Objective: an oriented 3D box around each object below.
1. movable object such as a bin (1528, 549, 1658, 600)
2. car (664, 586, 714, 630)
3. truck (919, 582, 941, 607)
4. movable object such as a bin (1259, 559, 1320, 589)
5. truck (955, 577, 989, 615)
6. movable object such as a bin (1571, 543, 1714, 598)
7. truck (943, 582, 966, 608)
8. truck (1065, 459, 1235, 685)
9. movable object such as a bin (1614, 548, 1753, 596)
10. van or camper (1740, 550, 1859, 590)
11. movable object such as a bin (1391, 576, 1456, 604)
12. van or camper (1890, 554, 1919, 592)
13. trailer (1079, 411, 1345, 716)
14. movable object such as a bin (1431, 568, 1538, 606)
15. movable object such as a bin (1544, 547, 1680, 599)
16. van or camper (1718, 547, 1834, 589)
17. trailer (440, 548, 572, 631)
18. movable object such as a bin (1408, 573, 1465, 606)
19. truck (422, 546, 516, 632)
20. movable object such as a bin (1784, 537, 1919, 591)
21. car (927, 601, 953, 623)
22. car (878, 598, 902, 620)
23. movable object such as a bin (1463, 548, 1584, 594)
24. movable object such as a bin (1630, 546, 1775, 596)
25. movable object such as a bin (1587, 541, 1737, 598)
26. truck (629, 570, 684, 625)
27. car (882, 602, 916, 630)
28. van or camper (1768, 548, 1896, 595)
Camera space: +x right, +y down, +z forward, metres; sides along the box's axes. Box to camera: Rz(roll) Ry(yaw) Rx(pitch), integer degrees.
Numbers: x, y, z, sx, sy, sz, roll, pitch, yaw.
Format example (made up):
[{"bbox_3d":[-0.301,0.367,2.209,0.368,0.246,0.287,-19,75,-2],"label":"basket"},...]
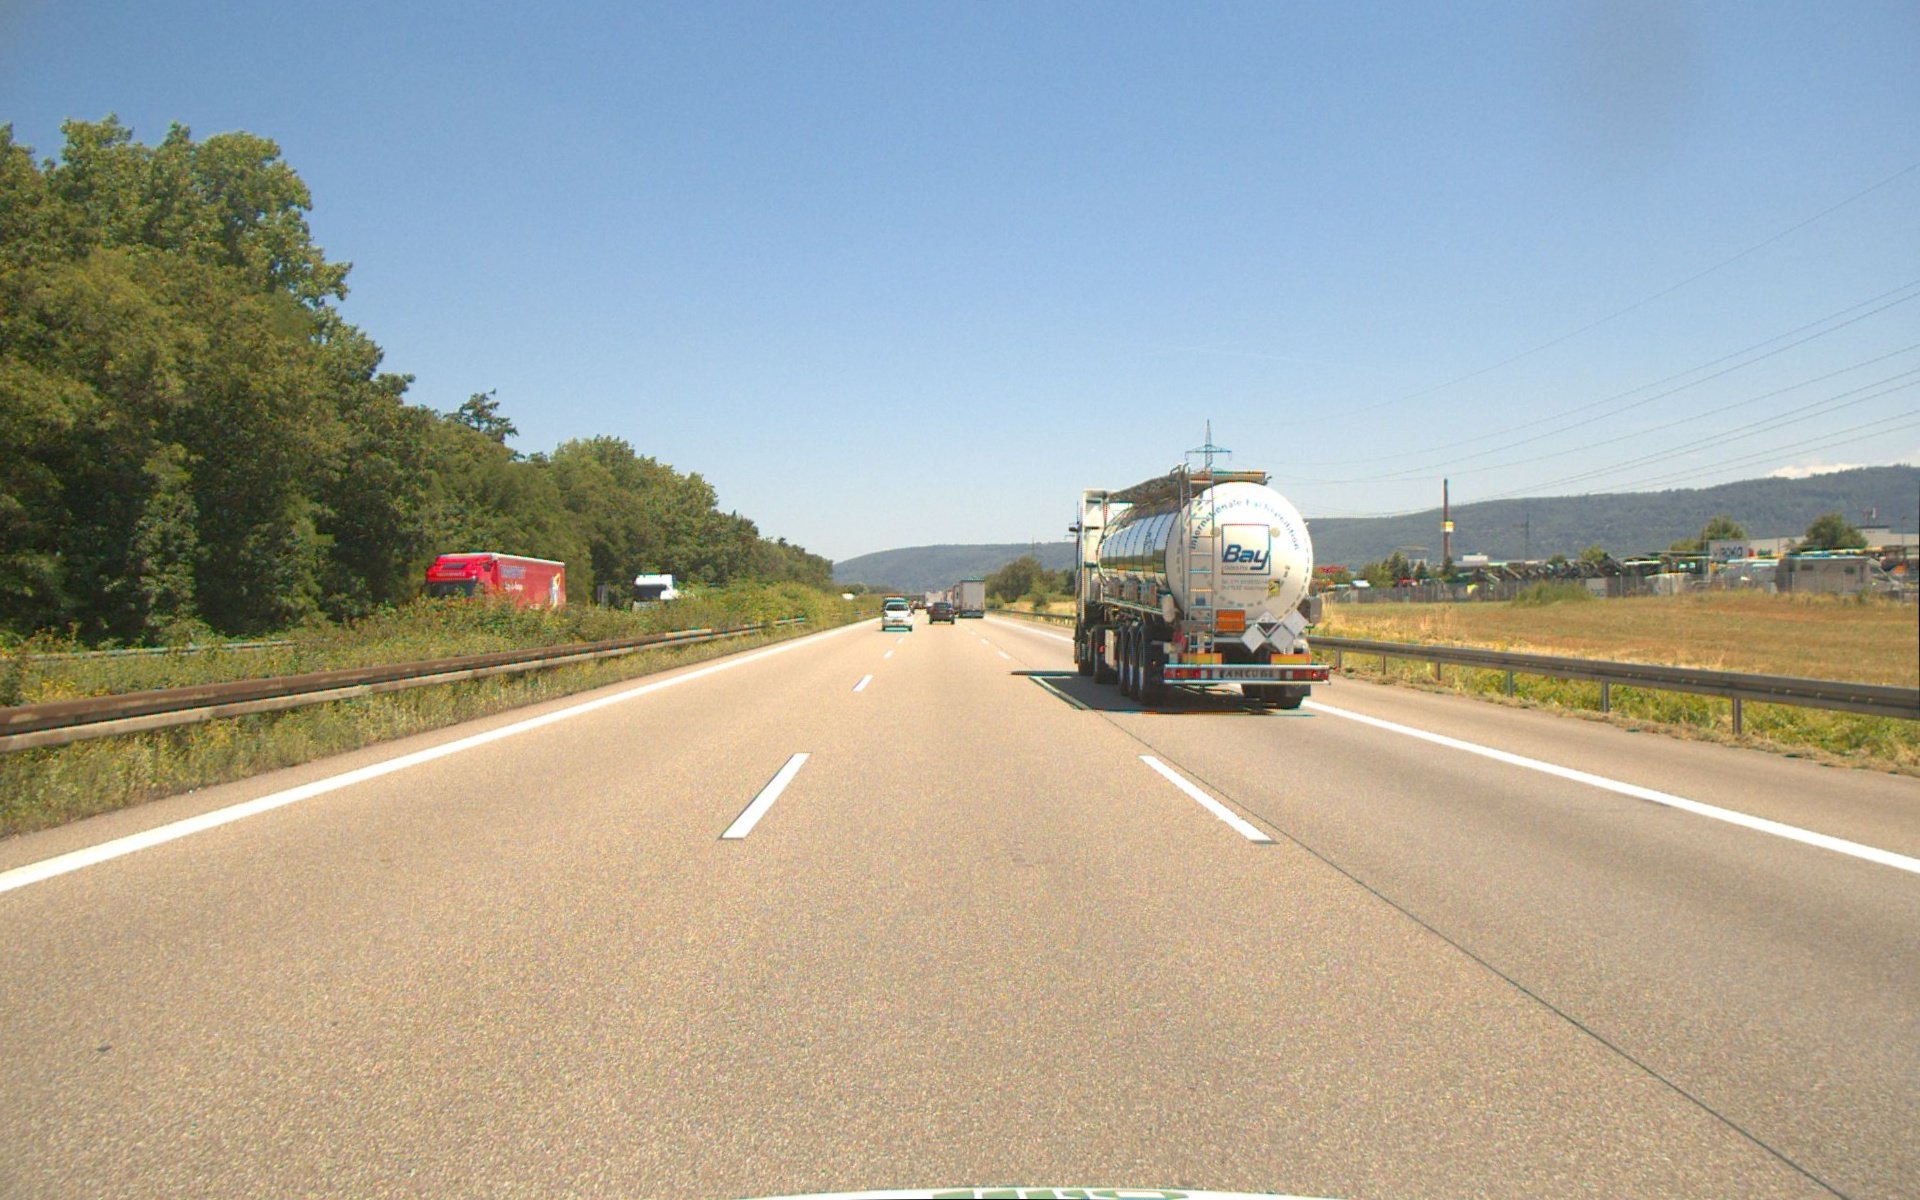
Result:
[{"bbox_3d":[51.719,-2.104,135.337,9.516,3.754,2.633,-2,0,1],"label":"movable object such as a bin"},{"bbox_3d":[-16.930,0.455,103.665,2.256,2.443,6.518,1,2,-2],"label":"car"},{"bbox_3d":[-4.404,-0.848,241.286,3.034,3.535,11.539,1,0,-1],"label":"truck"},{"bbox_3d":[45.805,-3.562,230.071,8.013,3.797,3.339,-2,0,6],"label":"movable object such as a bin"},{"bbox_3d":[1.248,-0.408,179.497,3.199,3.925,11.628,1,0,-1],"label":"truck"},{"bbox_3d":[51.857,-2.214,125.804,9.512,3.754,2.978,-2,0,4],"label":"movable object such as a bin"},{"bbox_3d":[-0.791,-0.763,237.227,3.034,3.535,11.539,1,0,-1],"label":"truck"},{"bbox_3d":[3.742,-0.529,33.965,2.521,4.143,6.391,1,0,-2],"label":"truck"},{"bbox_3d":[51.873,-1.952,118.779,8.544,3.059,2.957,-2,0,5],"label":"movable object such as a bin"},{"bbox_3d":[51.485,-1.804,101.524,5.991,2.259,2.602,-1,0,0],"label":"van or camper"},{"bbox_3d":[51.252,-1.089,182.946,6.734,2.735,3.180,-2,0,14],"label":"movable object such as a bin"},{"bbox_3d":[64.761,-1.837,108.464,5.991,2.444,2.602,-1,0,0],"label":"van or camper"},{"bbox_3d":[3.882,-0.519,28.365,2.528,4.145,11.100,1,0,-1],"label":"trailer"},{"bbox_3d":[53.494,-1.281,168.760,10.048,3.475,2.520,-2,0,24],"label":"movable object such as a bin"},{"bbox_3d":[51.719,-2.138,131.401,9.516,3.753,2.977,-2,0,1],"label":"movable object such as a bin"},{"bbox_3d":[51.451,-2.005,104.322,5.991,2.444,2.602,-1,0,0],"label":"van or camper"},{"bbox_3d":[-21.158,-0.470,78.060,2.534,3.477,14.152,1,0,-1],"label":"trailer"},{"bbox_3d":[51.450,-1.129,178.542,5.705,3.252,2.524,-2,0,14],"label":"movable object such as a bin"},{"bbox_3d":[-21.019,-0.460,71.050,2.545,3.482,5.115,1,0,-2],"label":"truck"},{"bbox_3d":[67.098,-2.673,124.164,8.853,3.634,2.923,-2,0,3],"label":"movable object such as a bin"},{"bbox_3d":[-1.474,0.845,122.332,1.846,1.542,3.999,1,0,-1],"label":"car"},{"bbox_3d":[-5.538,0.677,131.100,1.814,1.661,3.999,1,0,-1],"label":"car"},{"bbox_3d":[51.008,-2.588,149.780,10.046,3.754,2.393,-2,0,-2],"label":"movable object such as a bin"},{"bbox_3d":[51.651,-1.972,115.263,8.545,3.059,3.216,-2,0,5],"label":"movable object such as a bin"},{"bbox_3d":[51.854,-2.199,122.348,9.512,3.754,3.420,-2,0,4],"label":"movable object such as a bin"},{"bbox_3d":[-21.461,-0.171,117.353,2.538,3.770,6.827,1,0,0],"label":"truck"},{"bbox_3d":[-3.313,0.861,90.774,1.770,1.494,3.999,1,0,-1],"label":"car"},{"bbox_3d":[51.513,-1.653,97.782,6.212,2.597,2.438,-1,0,0],"label":"van or camper"}]
